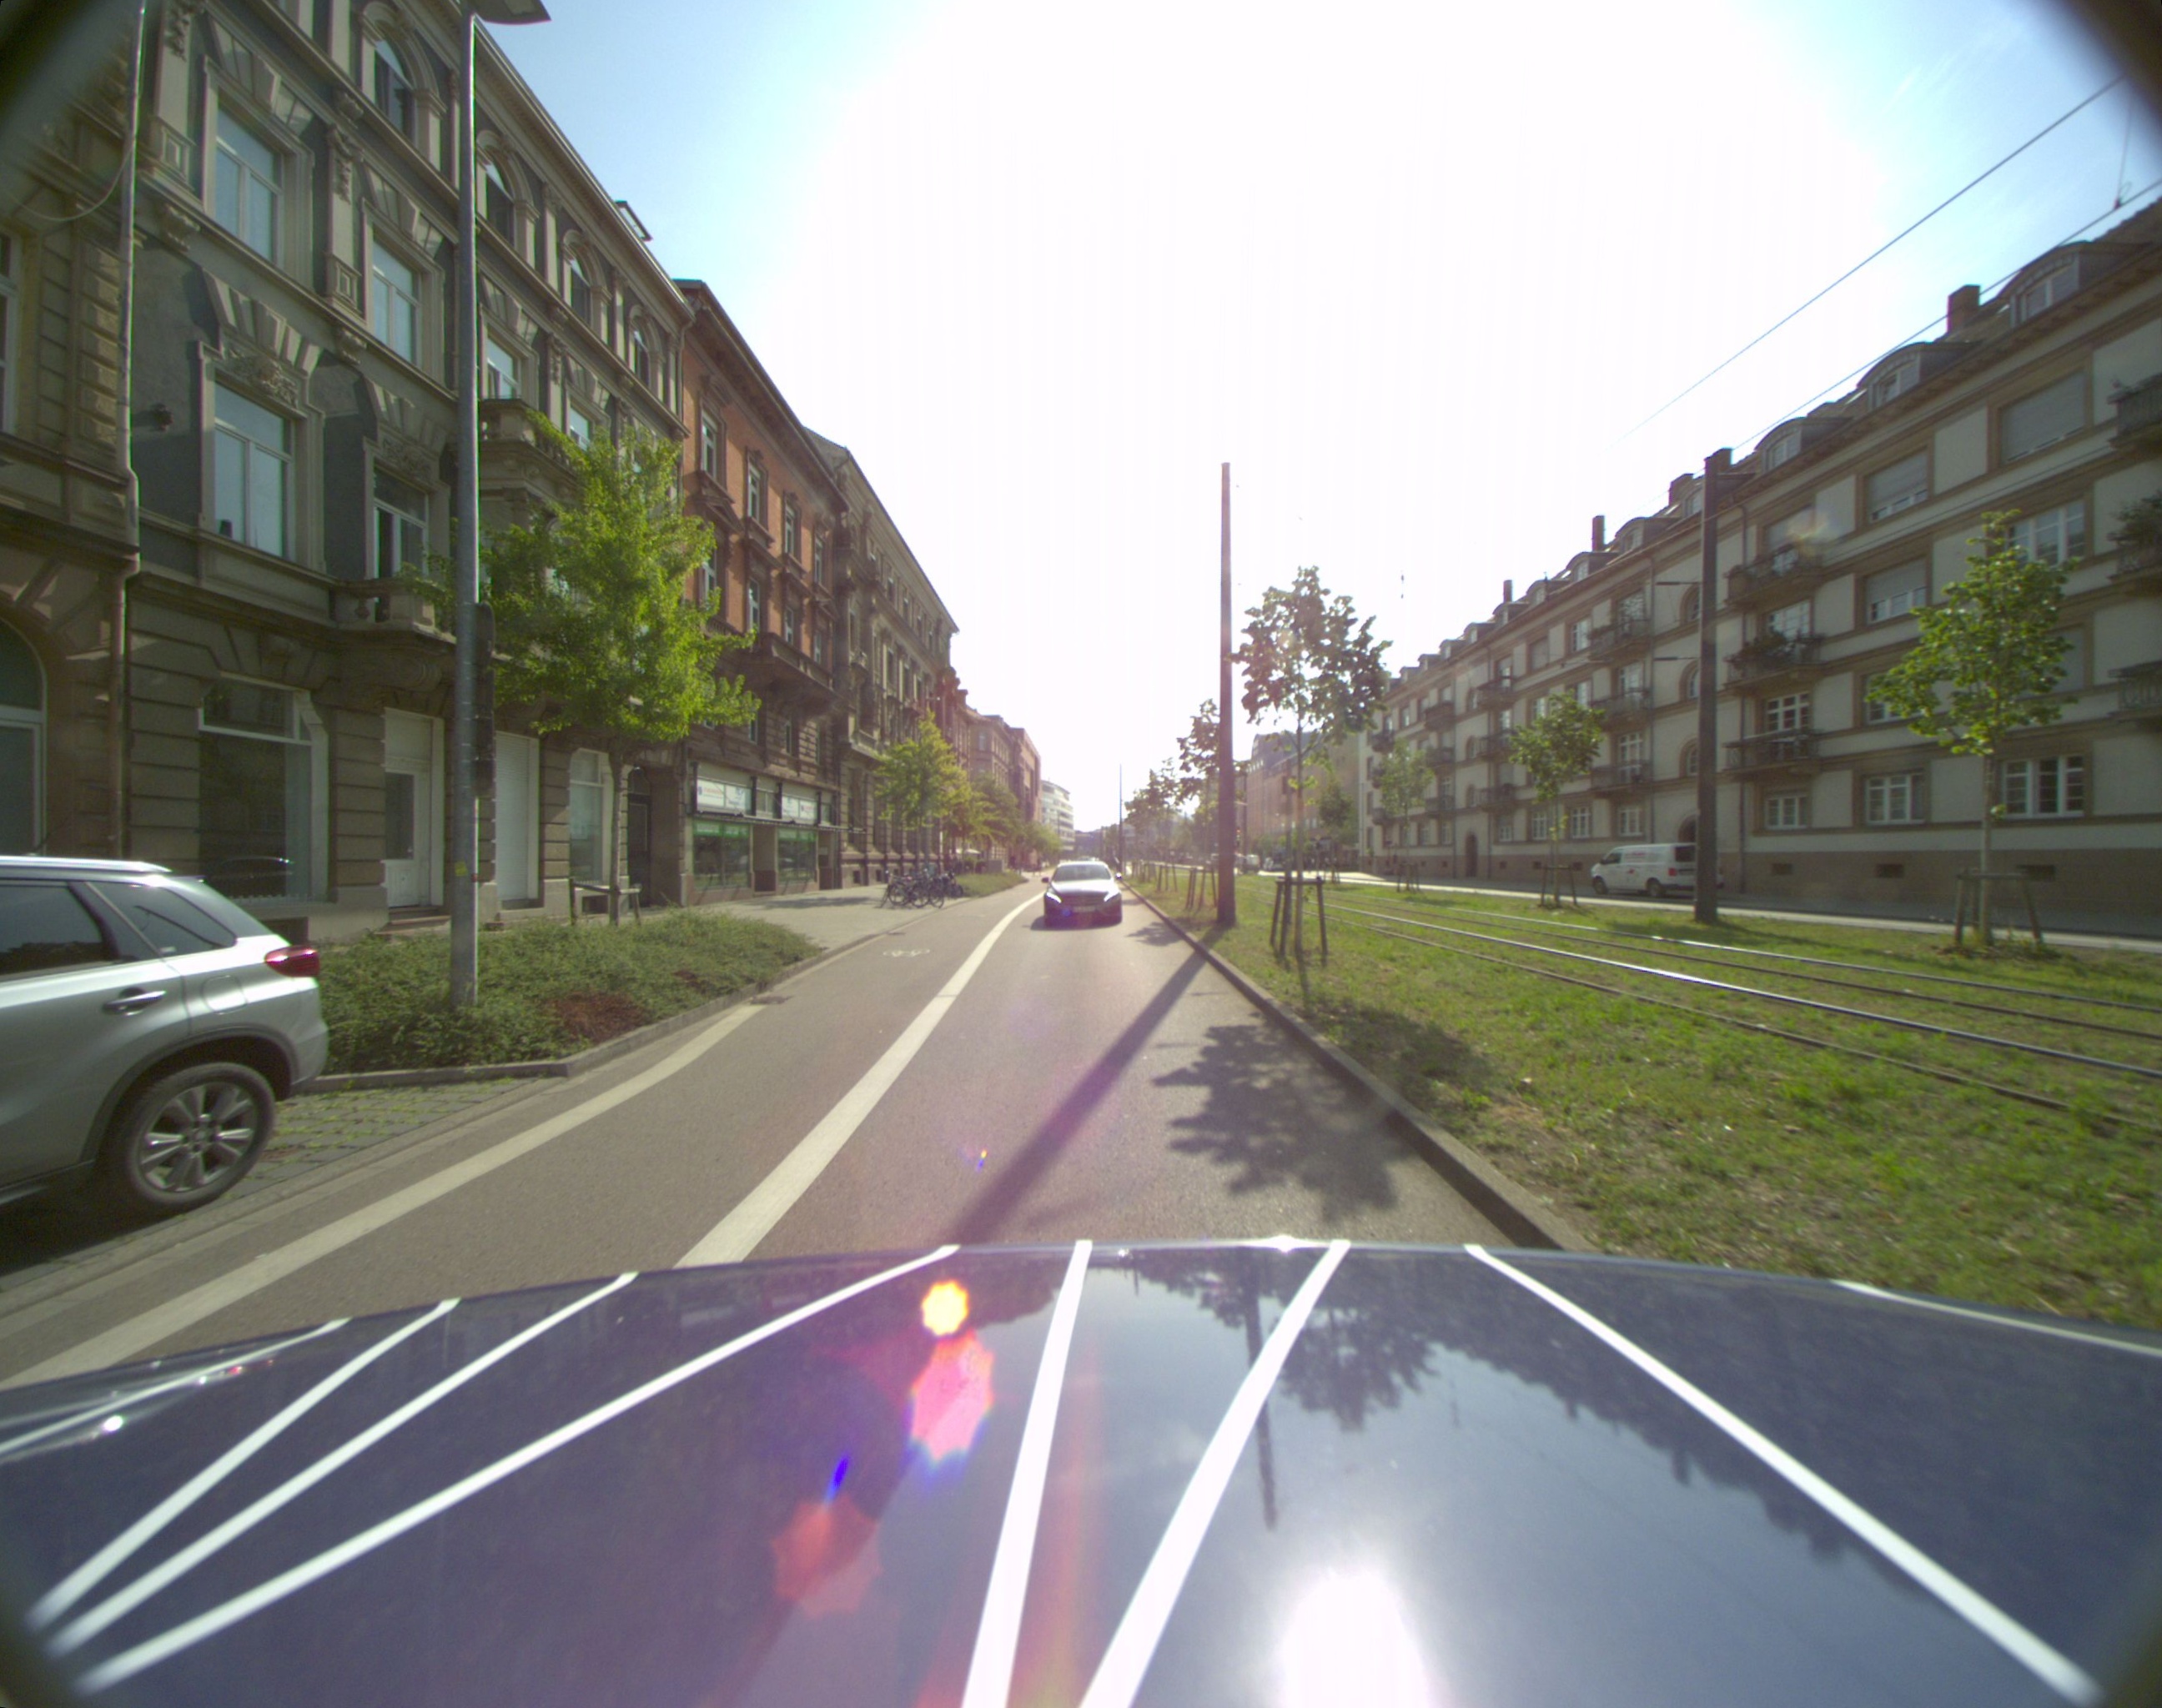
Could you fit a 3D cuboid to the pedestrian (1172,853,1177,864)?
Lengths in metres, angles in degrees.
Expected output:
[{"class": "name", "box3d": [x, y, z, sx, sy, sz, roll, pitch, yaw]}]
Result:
[{"class": "pedestrian", "box3d": [15.704, 0.738, 127.554, 0.806, 1.875, 0.555, 0, 1, 3]}]

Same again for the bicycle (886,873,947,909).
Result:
[{"class": "bicycle", "box3d": [-5.051, 1.133, 23.373, 1.789, 1.048, 0.373, 1, 0, 0]}]

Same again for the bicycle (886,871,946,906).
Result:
[{"class": "bicycle", "box3d": [-5.407, 1.116, 25.004, 1.812, 1.089, 0.671, 1, 0, -4]}]

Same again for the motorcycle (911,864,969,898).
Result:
[{"class": "motorcycle", "box3d": [-5.387, 1.036, 29.155, 2.045, 1.279, 0.703, 2, -1, -34]}]

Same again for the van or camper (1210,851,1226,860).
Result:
[{"class": "van or camper", "box3d": [34.716, 0.347, 192.142, 3.980, 2.198, 1.936, 0, 0, 10]}]

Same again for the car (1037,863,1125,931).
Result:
[{"class": "car", "box3d": [0.035, 0.959, 18.796, 1.907, 1.384, 4.236, -1, 0, 1]}]

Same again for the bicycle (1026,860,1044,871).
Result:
[{"class": "bicycle", "box3d": [-5.100, 1.267, 84.390, 1.758, 1.081, 0.669, 3, 0, 6]}]

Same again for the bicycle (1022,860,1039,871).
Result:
[{"class": "bicycle", "box3d": [-5.474, 1.220, 82.541, 1.756, 1.081, 0.583, 2, 0, 4]}]

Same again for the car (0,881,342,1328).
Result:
[{"class": "car", "box3d": [-4.828, 0.943, 1.965, 1.774, 1.579, 4.247, 1, 0, -2]}]

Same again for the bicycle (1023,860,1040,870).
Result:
[{"class": "bicycle", "box3d": [-5.380, 1.210, 83.140, 1.756, 1.081, 0.583, 2, 0, 4]}]

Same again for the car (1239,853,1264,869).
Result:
[{"class": "car", "box3d": [19.665, 0.803, 87.826, 1.998, 1.884, 5.047, 0, 0, 3]}]

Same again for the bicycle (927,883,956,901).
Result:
[{"class": "bicycle", "box3d": [-5.112, 1.384, 27.867, 0.960, 0.606, 0.360, 1, 1, 2]}]

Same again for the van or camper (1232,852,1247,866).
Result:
[{"class": "van or camper", "box3d": [32.306, 1.062, 155.013, 1.998, 2.785, 5.353, 0, 0, 1]}]

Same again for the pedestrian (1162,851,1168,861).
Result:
[{"class": "pedestrian", "box3d": [15.205, 0.384, 137.470, 0.787, 1.736, 0.833, 1, 1, -35]}]

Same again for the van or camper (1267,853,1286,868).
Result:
[{"class": "van or camper", "box3d": [27.136, 0.878, 105.449, 1.934, 1.956, 4.002, 0, 0, 5]}]

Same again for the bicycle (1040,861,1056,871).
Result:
[{"class": "bicycle", "box3d": [-3.857, 1.381, 88.586, 1.761, 1.081, 0.610, 3, 0, -8]}]

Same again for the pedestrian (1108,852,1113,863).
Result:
[{"class": "pedestrian", "box3d": [4.861, 0.505, 124.882, 0.675, 1.747, 0.727, -3, 1, 0]}]

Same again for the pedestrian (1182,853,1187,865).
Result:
[{"class": "pedestrian", "box3d": [15.227, 0.731, 111.755, 0.740, 1.861, 0.939, 0, 1, 2]}]

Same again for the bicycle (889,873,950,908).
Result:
[{"class": "bicycle", "box3d": [-5.039, 1.130, 23.773, 1.789, 1.048, 0.373, 1, 0, 0]}]

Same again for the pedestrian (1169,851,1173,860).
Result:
[{"class": "pedestrian", "box3d": [16.901, 0.315, 143.182, 0.652, 1.750, 0.698, -3, 1, 2]}]

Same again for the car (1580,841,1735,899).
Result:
[{"class": "car", "box3d": [21.478, 0.558, 28.661, 1.998, 1.907, 5.153, -2, 0, 2]}]

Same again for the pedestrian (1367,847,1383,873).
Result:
[{"class": "pedestrian", "box3d": [24.228, 0.487, 62.673, 0.844, 2.056, 1.157, -1, 0, 2]}]

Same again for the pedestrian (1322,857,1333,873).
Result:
[{"class": "pedestrian", "box3d": [24.858, 1.089, 76.635, 0.809, 1.574, 0.678, 0, 1, -37]}]

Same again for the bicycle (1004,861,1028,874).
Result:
[{"class": "bicycle", "box3d": [-5.147, 1.037, 60.228, 1.781, 0.948, 0.507, 2, 1, 18]}]

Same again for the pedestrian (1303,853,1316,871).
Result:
[{"class": "pedestrian", "box3d": [24.238, 0.822, 80.533, 1.073, 1.857, 0.862, -1, 1, -26]}]

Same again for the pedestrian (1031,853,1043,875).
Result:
[{"class": "pedestrian", "box3d": [-3.742, 0.854, 64.891, 0.992, 1.795, 0.864, 1, -1, 0]}]

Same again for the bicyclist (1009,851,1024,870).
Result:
[{"class": "bicyclist", "box3d": [-5.120, 0.518, 60.244, 0.929, 1.473, 0.586, 2, 1, 18]}]
